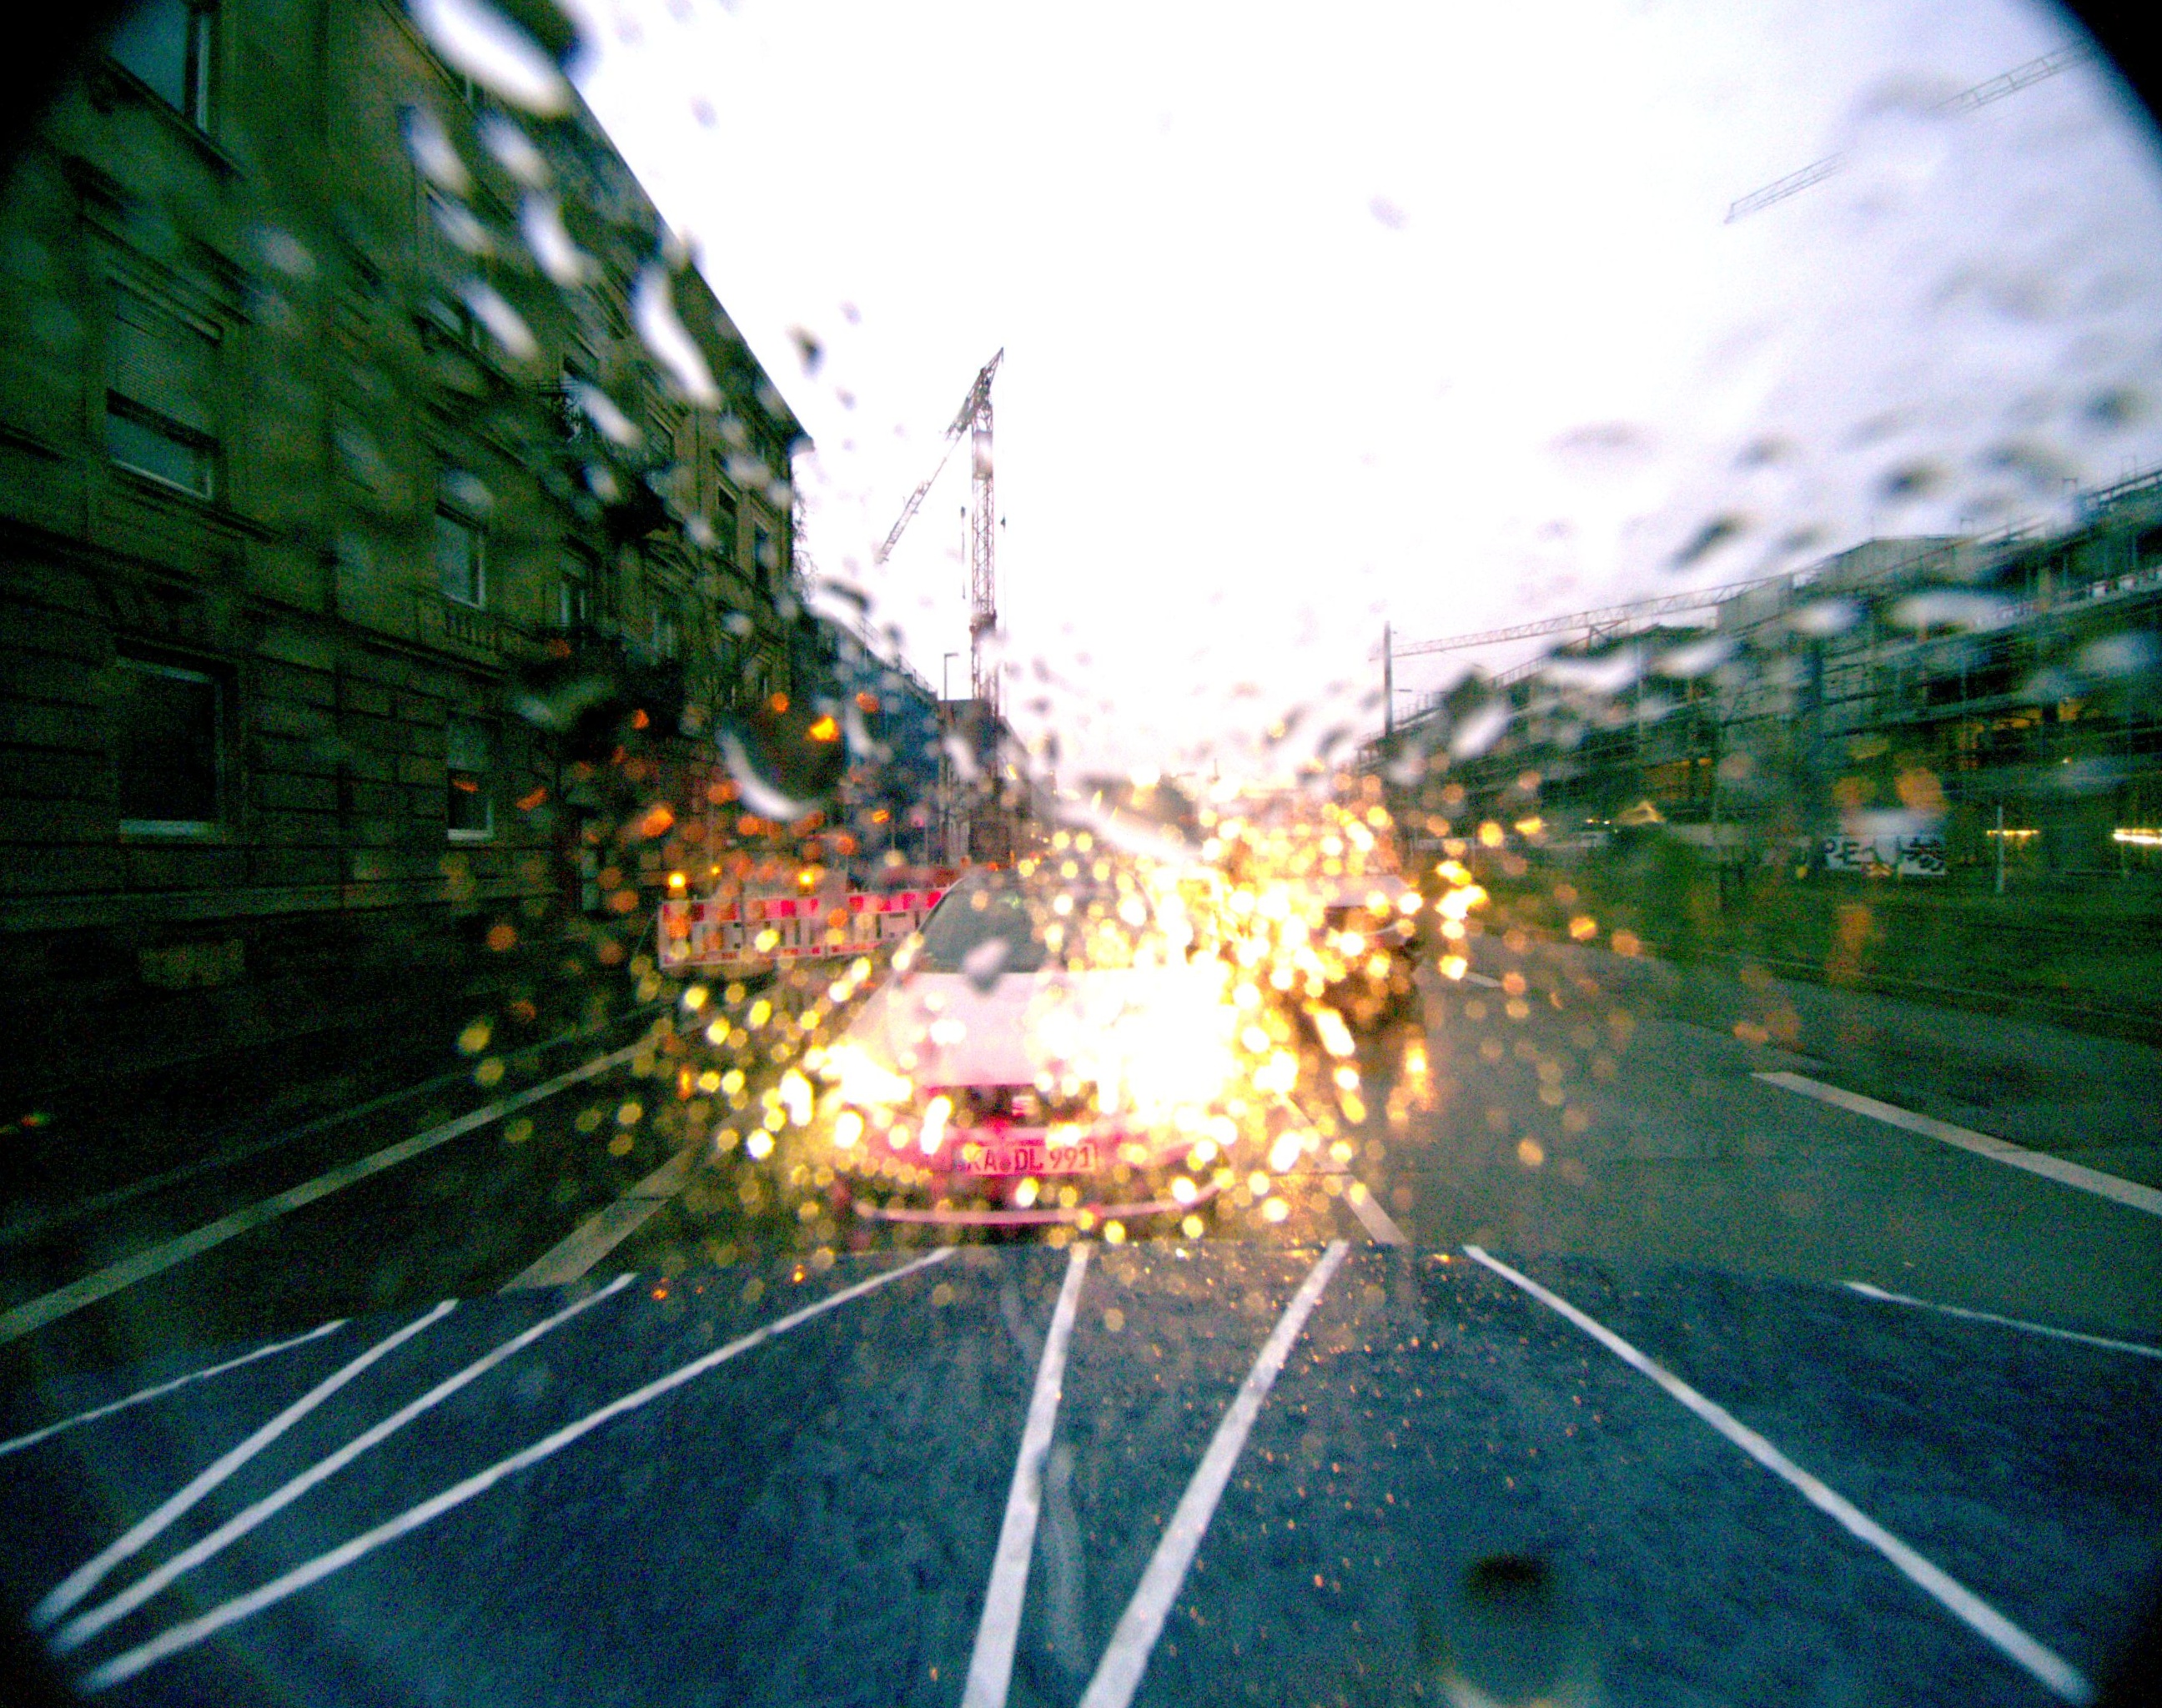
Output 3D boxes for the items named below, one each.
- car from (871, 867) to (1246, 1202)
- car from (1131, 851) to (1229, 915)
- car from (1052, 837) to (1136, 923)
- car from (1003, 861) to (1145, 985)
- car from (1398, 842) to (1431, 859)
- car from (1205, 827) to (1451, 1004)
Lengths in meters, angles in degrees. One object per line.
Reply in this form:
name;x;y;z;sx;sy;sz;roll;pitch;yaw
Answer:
car;-0.146;0.907;5.684;1.764;1.443;3.999;-2;1;-1
car;2.865;0.786;22.980;1.845;1.644;4.321;-2;1;-7
car;0.254;0.576;19.395;1.858;1.886;3.999;-2;1;-1
car;-0.134;0.899;11.742;1.764;1.443;3.999;-2;1;-1
car;38.088;-0.430;86.843;1.998;1.761;3.999;-2;1;1
car;2.818;0.603;9.672;1.858;1.723;4.000;-2;1;1
